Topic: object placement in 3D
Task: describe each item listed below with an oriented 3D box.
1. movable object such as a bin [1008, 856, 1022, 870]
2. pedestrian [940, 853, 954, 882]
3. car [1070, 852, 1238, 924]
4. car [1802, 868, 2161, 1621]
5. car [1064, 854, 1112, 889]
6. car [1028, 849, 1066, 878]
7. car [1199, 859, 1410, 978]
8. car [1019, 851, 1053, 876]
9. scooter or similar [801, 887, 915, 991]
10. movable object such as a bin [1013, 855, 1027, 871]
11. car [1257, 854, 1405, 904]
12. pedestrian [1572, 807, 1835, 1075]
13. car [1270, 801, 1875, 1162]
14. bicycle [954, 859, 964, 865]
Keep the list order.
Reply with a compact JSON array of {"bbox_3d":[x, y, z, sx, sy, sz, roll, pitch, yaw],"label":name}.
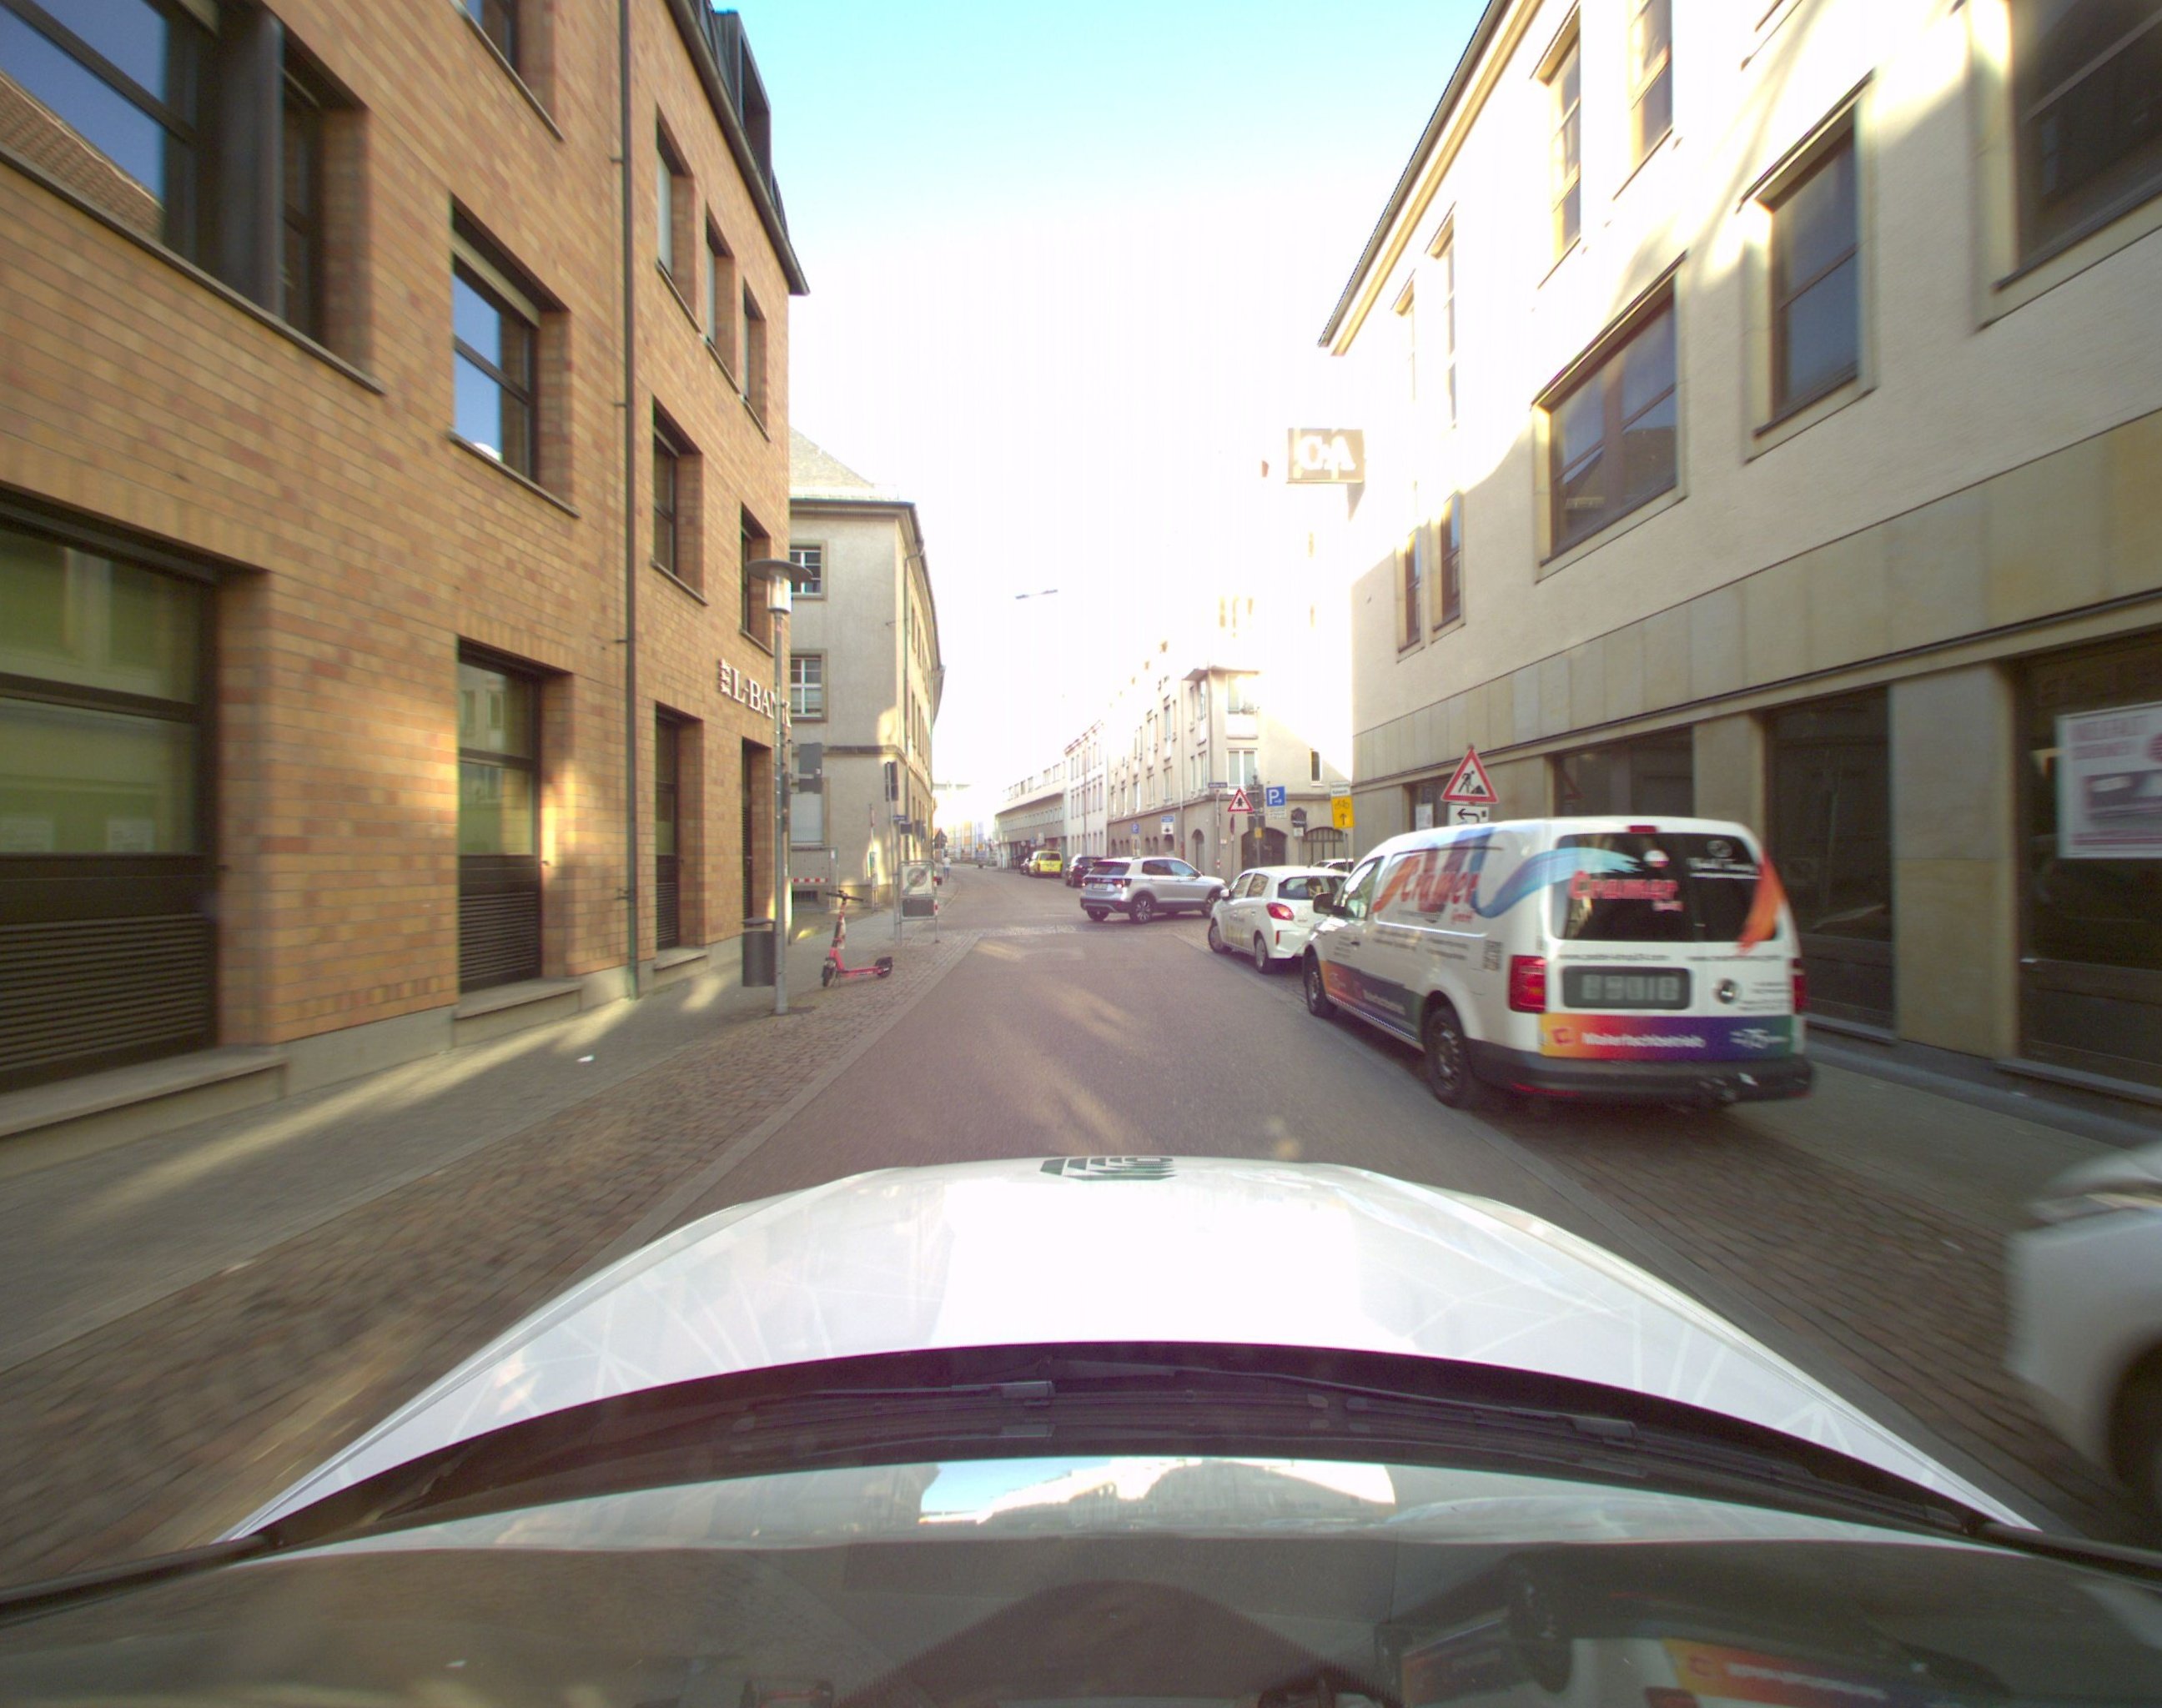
[{"bbox_3d":[-6.839,0.947,84.810,1.134,1.479,1.730,0,0,-16],"label":"movable object such as a bin"},{"bbox_3d":[-8.205,0.806,49.750,0.767,1.724,0.684,0,0,-14],"label":"pedestrian"},{"bbox_3d":[1.867,0.768,20.233,4.020,1.562,1.821,-1,0,-39],"label":"car"},{"bbox_3d":[3.088,0.810,0.361,1.835,1.478,4.167,2,0,0],"label":"car"},{"bbox_3d":[0.316,0.878,42.517,1.966,1.692,4.090,1,0,-8],"label":"car"},{"bbox_3d":[-2.511,0.645,58.943,2.054,2.013,4.157,-1,0,-12],"label":"car"},{"bbox_3d":[3.214,0.840,12.621,1.885,1.518,4.056,0,0,-5],"label":"car"},{"bbox_3d":[-3.591,0.737,64.712,2.054,1.873,4.083,-1,0,-12],"label":"car"},{"bbox_3d":[-2.943,1.086,10.870,0.691,1.217,1.365,-2,0,27],"label":"scooter or similar"},{"bbox_3d":[-6.257,0.915,83.116,1.134,1.558,1.730,0,0,-16],"label":"movable object such as a bin"},{"bbox_3d":[7.968,0.781,26.222,4.205,1.553,1.900,0,0,-3],"label":"car"},{"bbox_3d":[4.586,0.595,6.131,1.039,1.801,1.198,-1,-1,0],"label":"pedestrian"},{"bbox_3d":[3.064,0.649,6.668,1.824,1.791,5.213,0,0,0],"label":"car"},{"bbox_3d":[-22.066,1.409,147.326,1.783,1.000,0.544,0,0,-14],"label":"bicycle"}]
